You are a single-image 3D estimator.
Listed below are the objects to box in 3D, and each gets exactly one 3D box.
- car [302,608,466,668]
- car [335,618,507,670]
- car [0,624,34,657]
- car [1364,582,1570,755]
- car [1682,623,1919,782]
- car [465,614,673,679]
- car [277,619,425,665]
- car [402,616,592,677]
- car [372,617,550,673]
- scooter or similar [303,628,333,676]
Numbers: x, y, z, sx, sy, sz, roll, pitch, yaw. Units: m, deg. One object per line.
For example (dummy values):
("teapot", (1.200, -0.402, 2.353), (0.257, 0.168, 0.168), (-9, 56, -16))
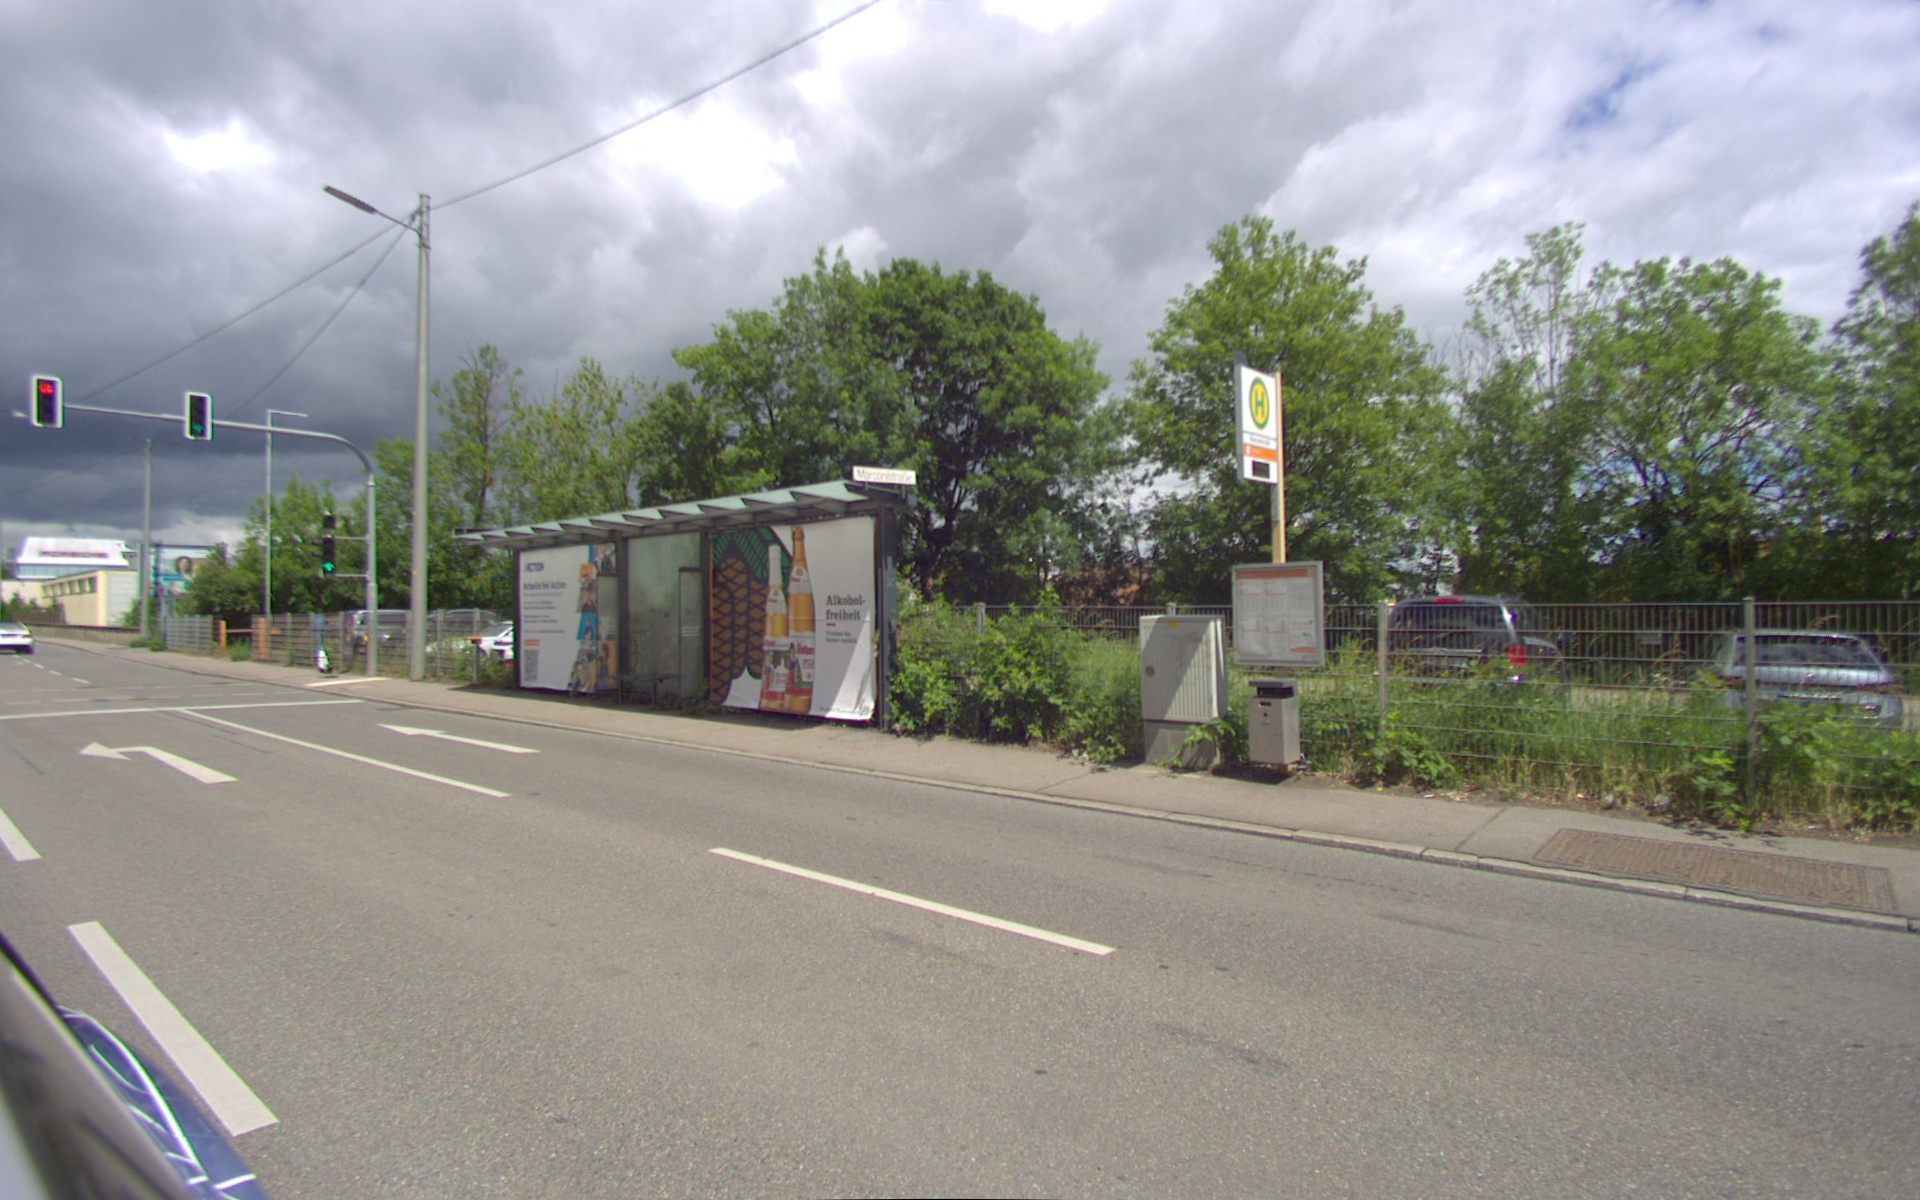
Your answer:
("car", (-18.125, 1.165, 32.006), (1.996, 1.748, 4.065), (-1, -2, 36))
("car", (-15.847, 1.247, 29.905), (1.998, 1.430, 4.061), (-1, -1, 40))
("car", (-42.607, 1.782, 44.851), (4.222, 1.387, 1.778), (-1, -3, 41))
("car", (7.266, 0.834, 14.265), (2.135, 2.029, 4.241), (0, -1, 33))
("car", (9.926, 1.052, 12.052), (1.905, 1.498, 4.243), (0, -1, 32))
("car", (-9.385, 1.058, 24.532), (2.024, 1.430, 4.264), (-1, -2, 42))
("car", (-20.254, 1.347, 33.785), (1.896, 1.430, 3.822), (-1, -1, 32))
("car", (-11.922, 1.146, 26.241), (1.915, 1.430, 4.059), (-1, -2, 41))
("car", (-13.935, 1.206, 28.437), (1.997, 1.430, 4.063), (-1, -1, 38))
("scooter or similar", (-17.046, 1.371, 26.856), (0.419, 1.220, 1.127), (-1, 0, -44))
